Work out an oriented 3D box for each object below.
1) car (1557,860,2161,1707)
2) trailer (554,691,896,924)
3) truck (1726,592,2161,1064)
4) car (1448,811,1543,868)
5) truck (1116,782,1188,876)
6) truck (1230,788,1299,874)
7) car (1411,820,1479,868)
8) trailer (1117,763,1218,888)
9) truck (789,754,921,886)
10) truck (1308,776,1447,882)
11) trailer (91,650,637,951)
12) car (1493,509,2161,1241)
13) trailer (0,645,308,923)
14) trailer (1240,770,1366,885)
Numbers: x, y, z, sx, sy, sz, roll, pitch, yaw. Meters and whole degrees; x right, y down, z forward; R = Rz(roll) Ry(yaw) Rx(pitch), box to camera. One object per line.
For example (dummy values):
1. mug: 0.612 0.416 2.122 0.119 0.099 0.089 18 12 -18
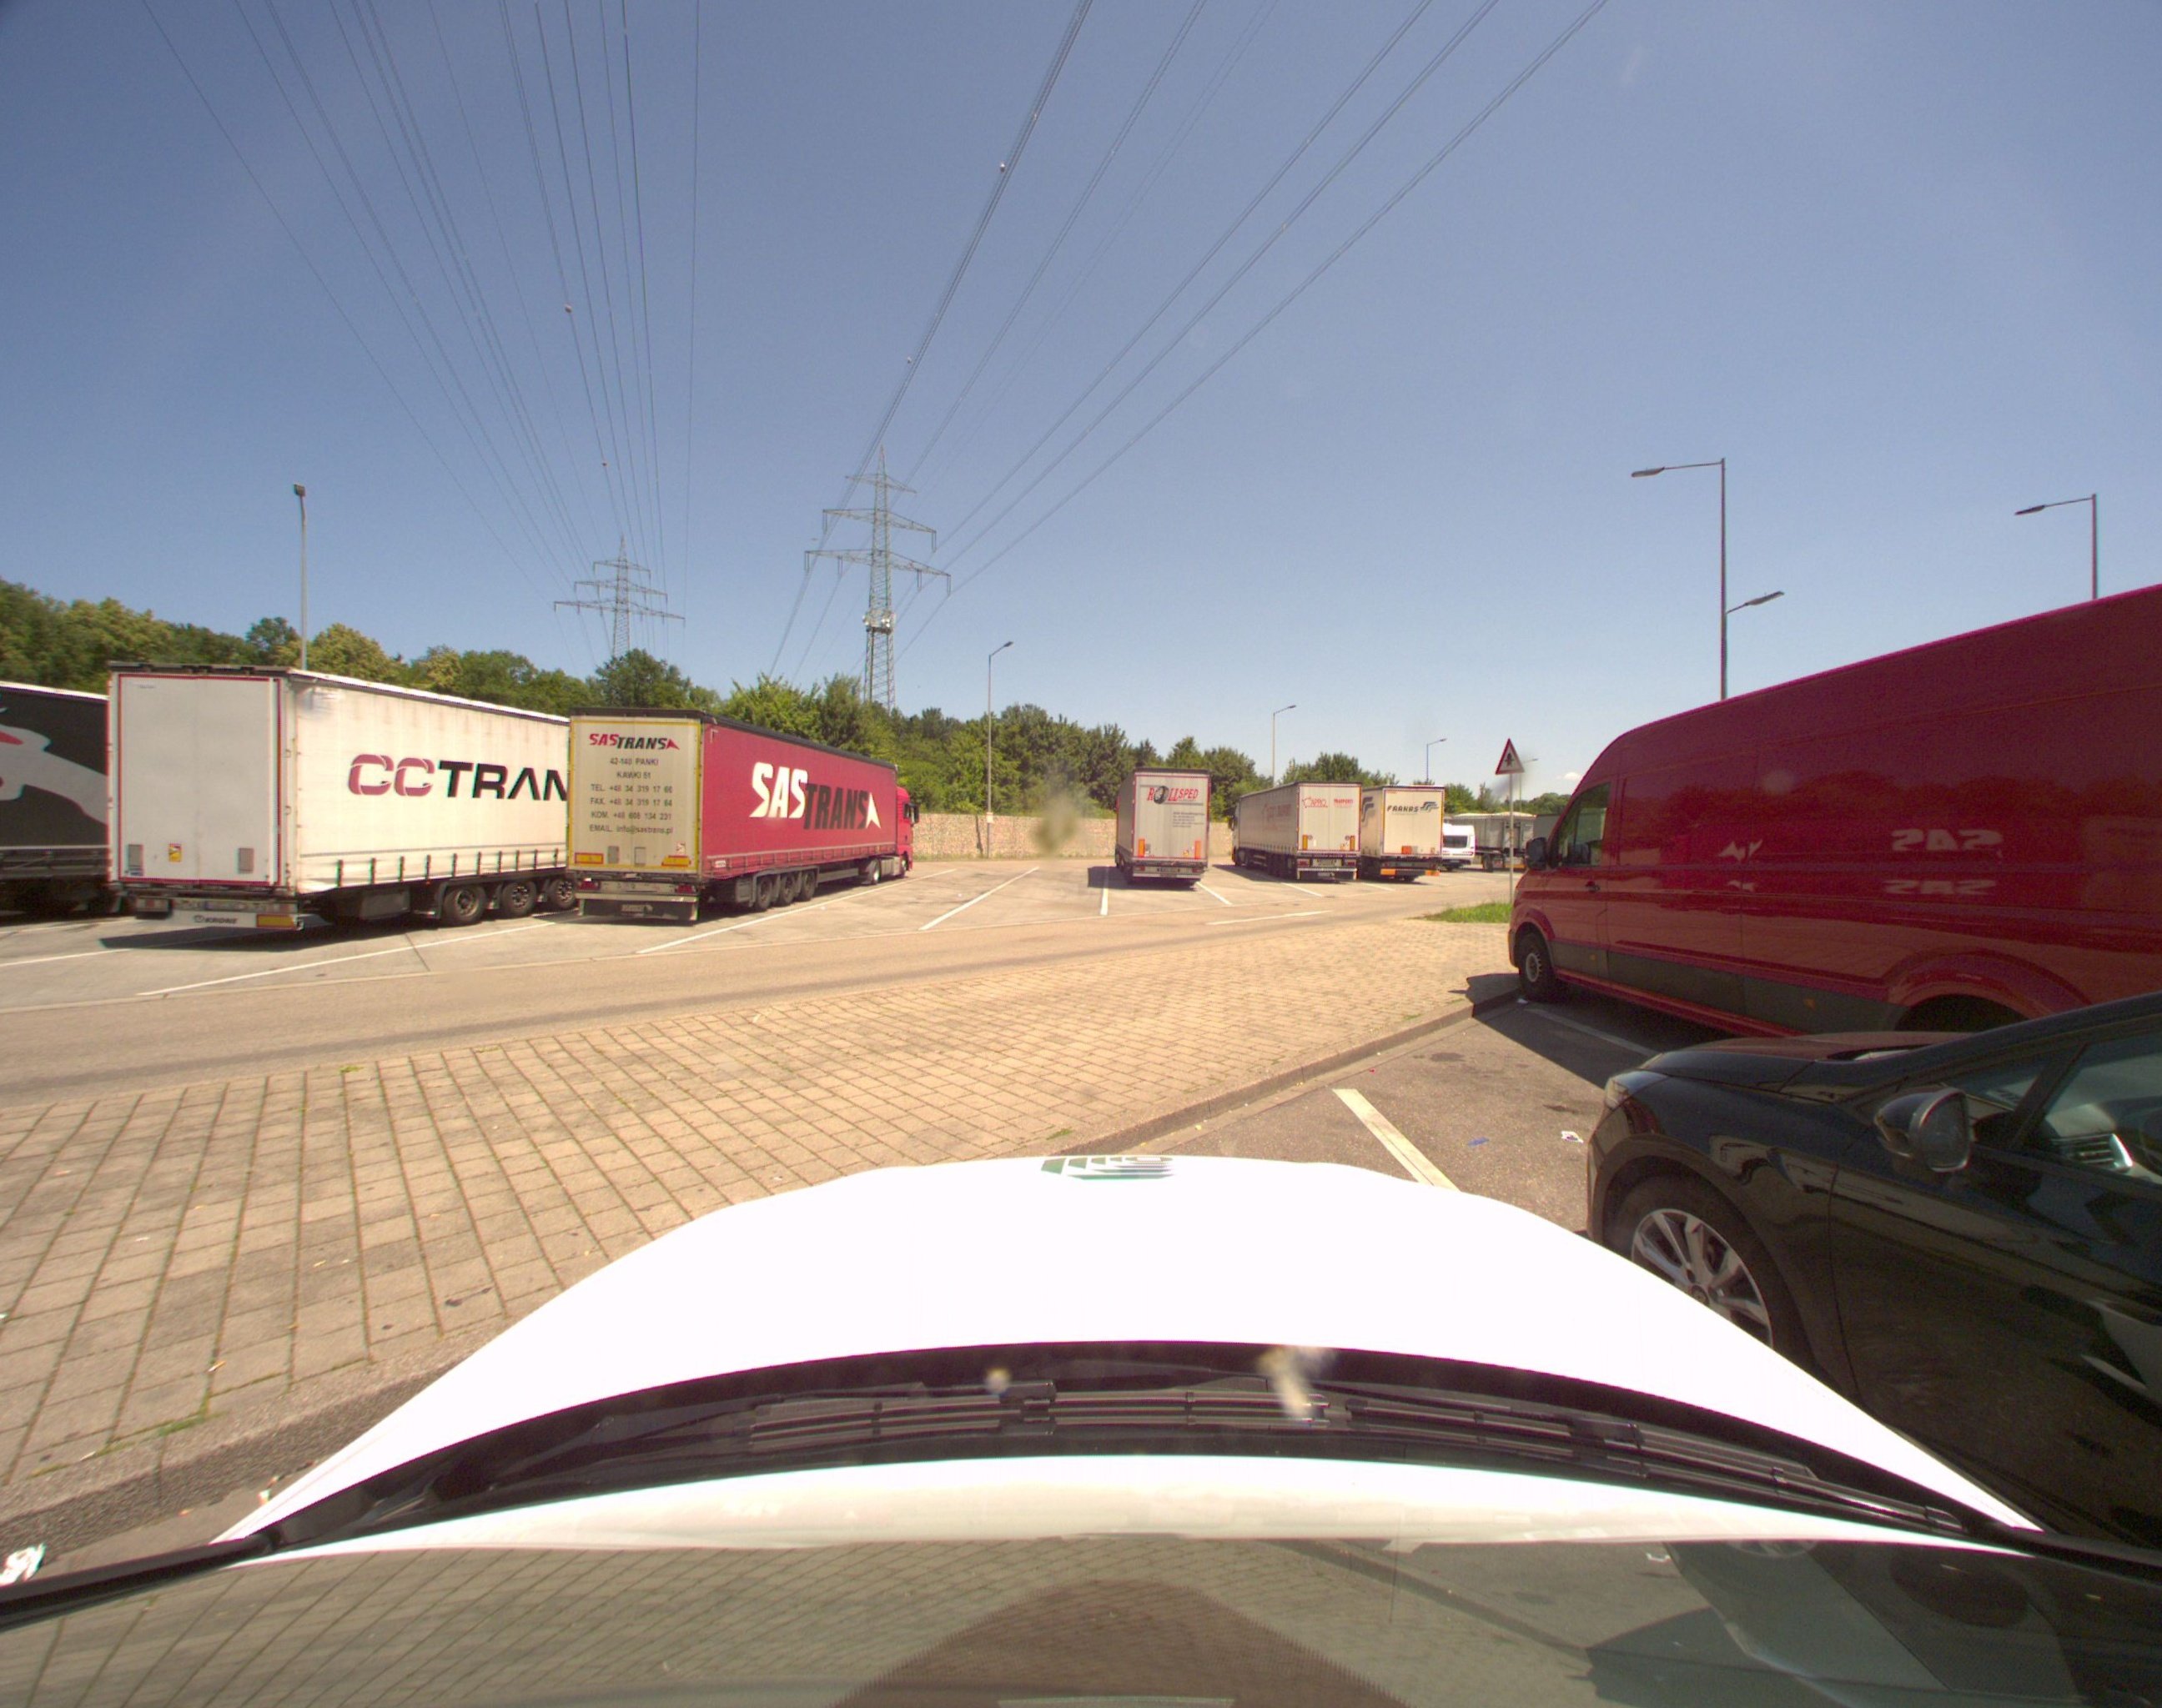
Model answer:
1. car: 2.560 0.739 0.877 1.773 1.457 3.680 0 -1 -4
2. trailer: -7.997 -0.944 21.478 2.789 4.219 13.208 -1 1 2
3. truck: 7.792 -0.154 5.949 2.508 2.827 4.821 0 -1 3
4. car: 24.137 -0.832 47.777 2.490 3.074 6.353 -1 1 2
5. truck: 3.163 -1.092 37.783 2.861 3.980 6.031 -1 1 1
6. truck: 10.082 -1.240 45.339 2.651 4.452 5.866 -1 1 2
7. car: 20.539 -0.527 46.155 2.107 2.599 4.001 0 -1 2
8. trailer: 3.075 -1.005 32.176 2.887 4.013 11.319 -1 1 1
9. truck: -7.748 -1.116 28.735 2.795 4.133 5.896 -1 1 2
10. truck: 13.536 -0.946 38.642 2.577 4.226 11.974 0 -1 2
11. trailer: -12.182 -0.804 15.412 2.744 4.152 8.291 0 1 2
12. car: 5.134 0.030 5.518 1.984 2.633 6.393 -1 1 5
13. trailer: -18.556 -1.134 14.951 2.668 4.444 6.151 -1 1 2
14. trailer: 9.904 -1.118 38.137 2.672 4.452 12.833 -1 1 1
